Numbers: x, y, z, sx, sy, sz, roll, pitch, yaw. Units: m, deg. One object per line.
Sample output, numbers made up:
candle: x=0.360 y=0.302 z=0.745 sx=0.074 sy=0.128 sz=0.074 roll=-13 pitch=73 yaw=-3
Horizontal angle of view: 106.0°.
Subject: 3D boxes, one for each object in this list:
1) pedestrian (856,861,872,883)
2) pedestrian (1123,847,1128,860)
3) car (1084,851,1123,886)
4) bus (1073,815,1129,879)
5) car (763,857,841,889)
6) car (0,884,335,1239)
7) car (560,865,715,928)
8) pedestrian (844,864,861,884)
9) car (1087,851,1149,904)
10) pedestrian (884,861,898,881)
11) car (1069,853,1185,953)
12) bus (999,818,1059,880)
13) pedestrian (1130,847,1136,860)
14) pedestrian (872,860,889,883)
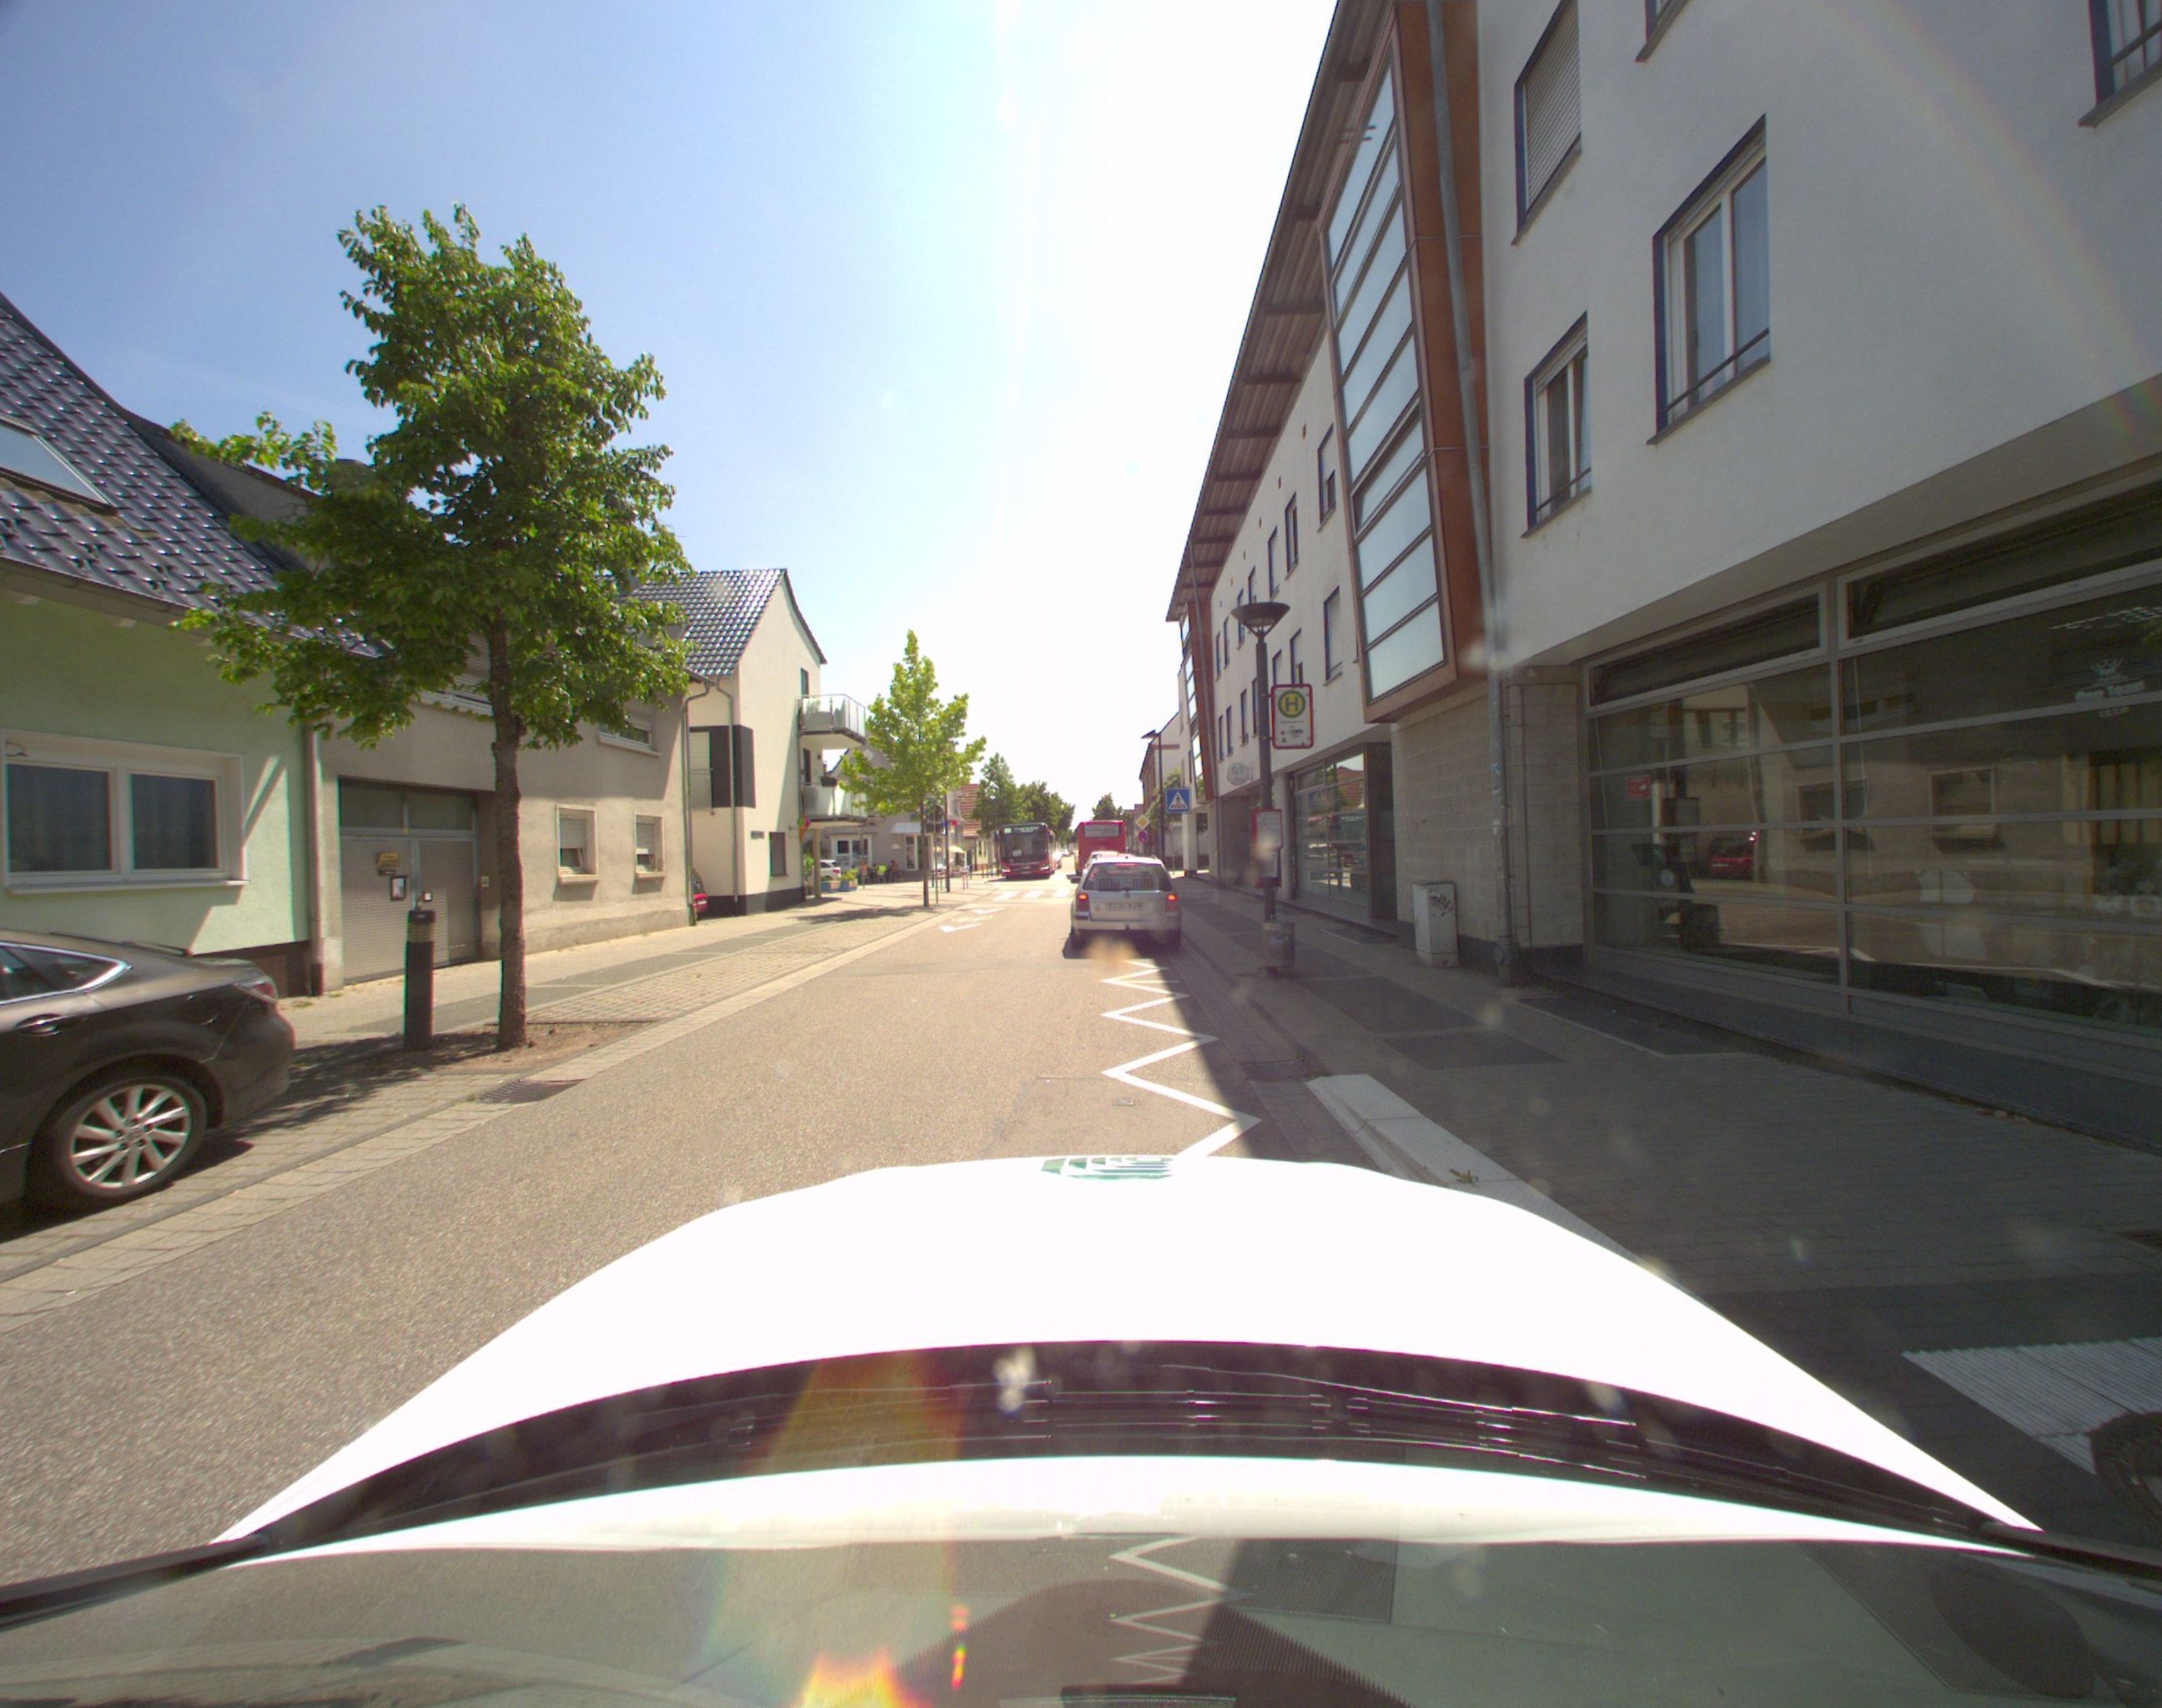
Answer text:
pedestrian: x=-12.535 y=1.031 z=47.028 sx=0.639 sy=1.289 sz=0.780 roll=1 pitch=-1 yaw=-43
pedestrian: x=5.824 y=-0.075 z=106.391 sx=0.604 sy=1.667 sz=0.789 roll=-2 pitch=0 yaw=-1
car: x=0.978 y=0.578 z=35.231 sx=1.587 sy=1.430 sz=3.681 roll=0 pitch=0 yaw=2
bus: x=0.978 y=-0.361 z=48.673 sx=2.732 sy=3.298 sz=12.697 roll=-1 pitch=0 yaw=-1
car: x=-15.219 y=1.013 z=44.566 sx=3.924 sy=1.545 sz=1.510 roll=-2 pitch=2 yaw=-16
car: x=-5.426 y=0.929 z=2.662 sx=1.654 sy=1.437 sz=4.540 roll=-2 pitch=0 yaw=2
car: x=-11.459 y=1.062 z=21.210 sx=3.108 sy=1.443 sz=1.584 roll=-2 pitch=0 yaw=-5
pedestrian: x=-12.936 y=1.144 z=46.139 sx=0.639 sy=1.116 sz=0.780 roll=1 pitch=-1 yaw=-43
car: x=1.055 y=0.635 z=24.346 sx=1.671 sy=1.430 sz=3.680 roll=-1 pitch=0 yaw=1
pedestrian: x=-11.189 y=1.006 z=47.924 sx=0.620 sy=1.179 sz=0.696 roll=-2 pitch=0 yaw=-3
car: x=0.703 y=0.714 z=13.666 sx=1.671 sy=1.430 sz=3.680 roll=0 pitch=0 yaw=1
bus: x=-2.901 y=-0.271 z=50.838 sx=2.660 sy=3.123 sz=17.801 roll=-2 pitch=0 yaw=0
pedestrian: x=6.710 y=-0.103 z=105.301 sx=0.604 sy=1.667 sz=0.789 roll=-2 pitch=0 yaw=-1
pedestrian: x=-11.532 y=0.994 z=46.788 sx=0.639 sy=1.289 sz=0.780 roll=1 pitch=-1 yaw=-43
